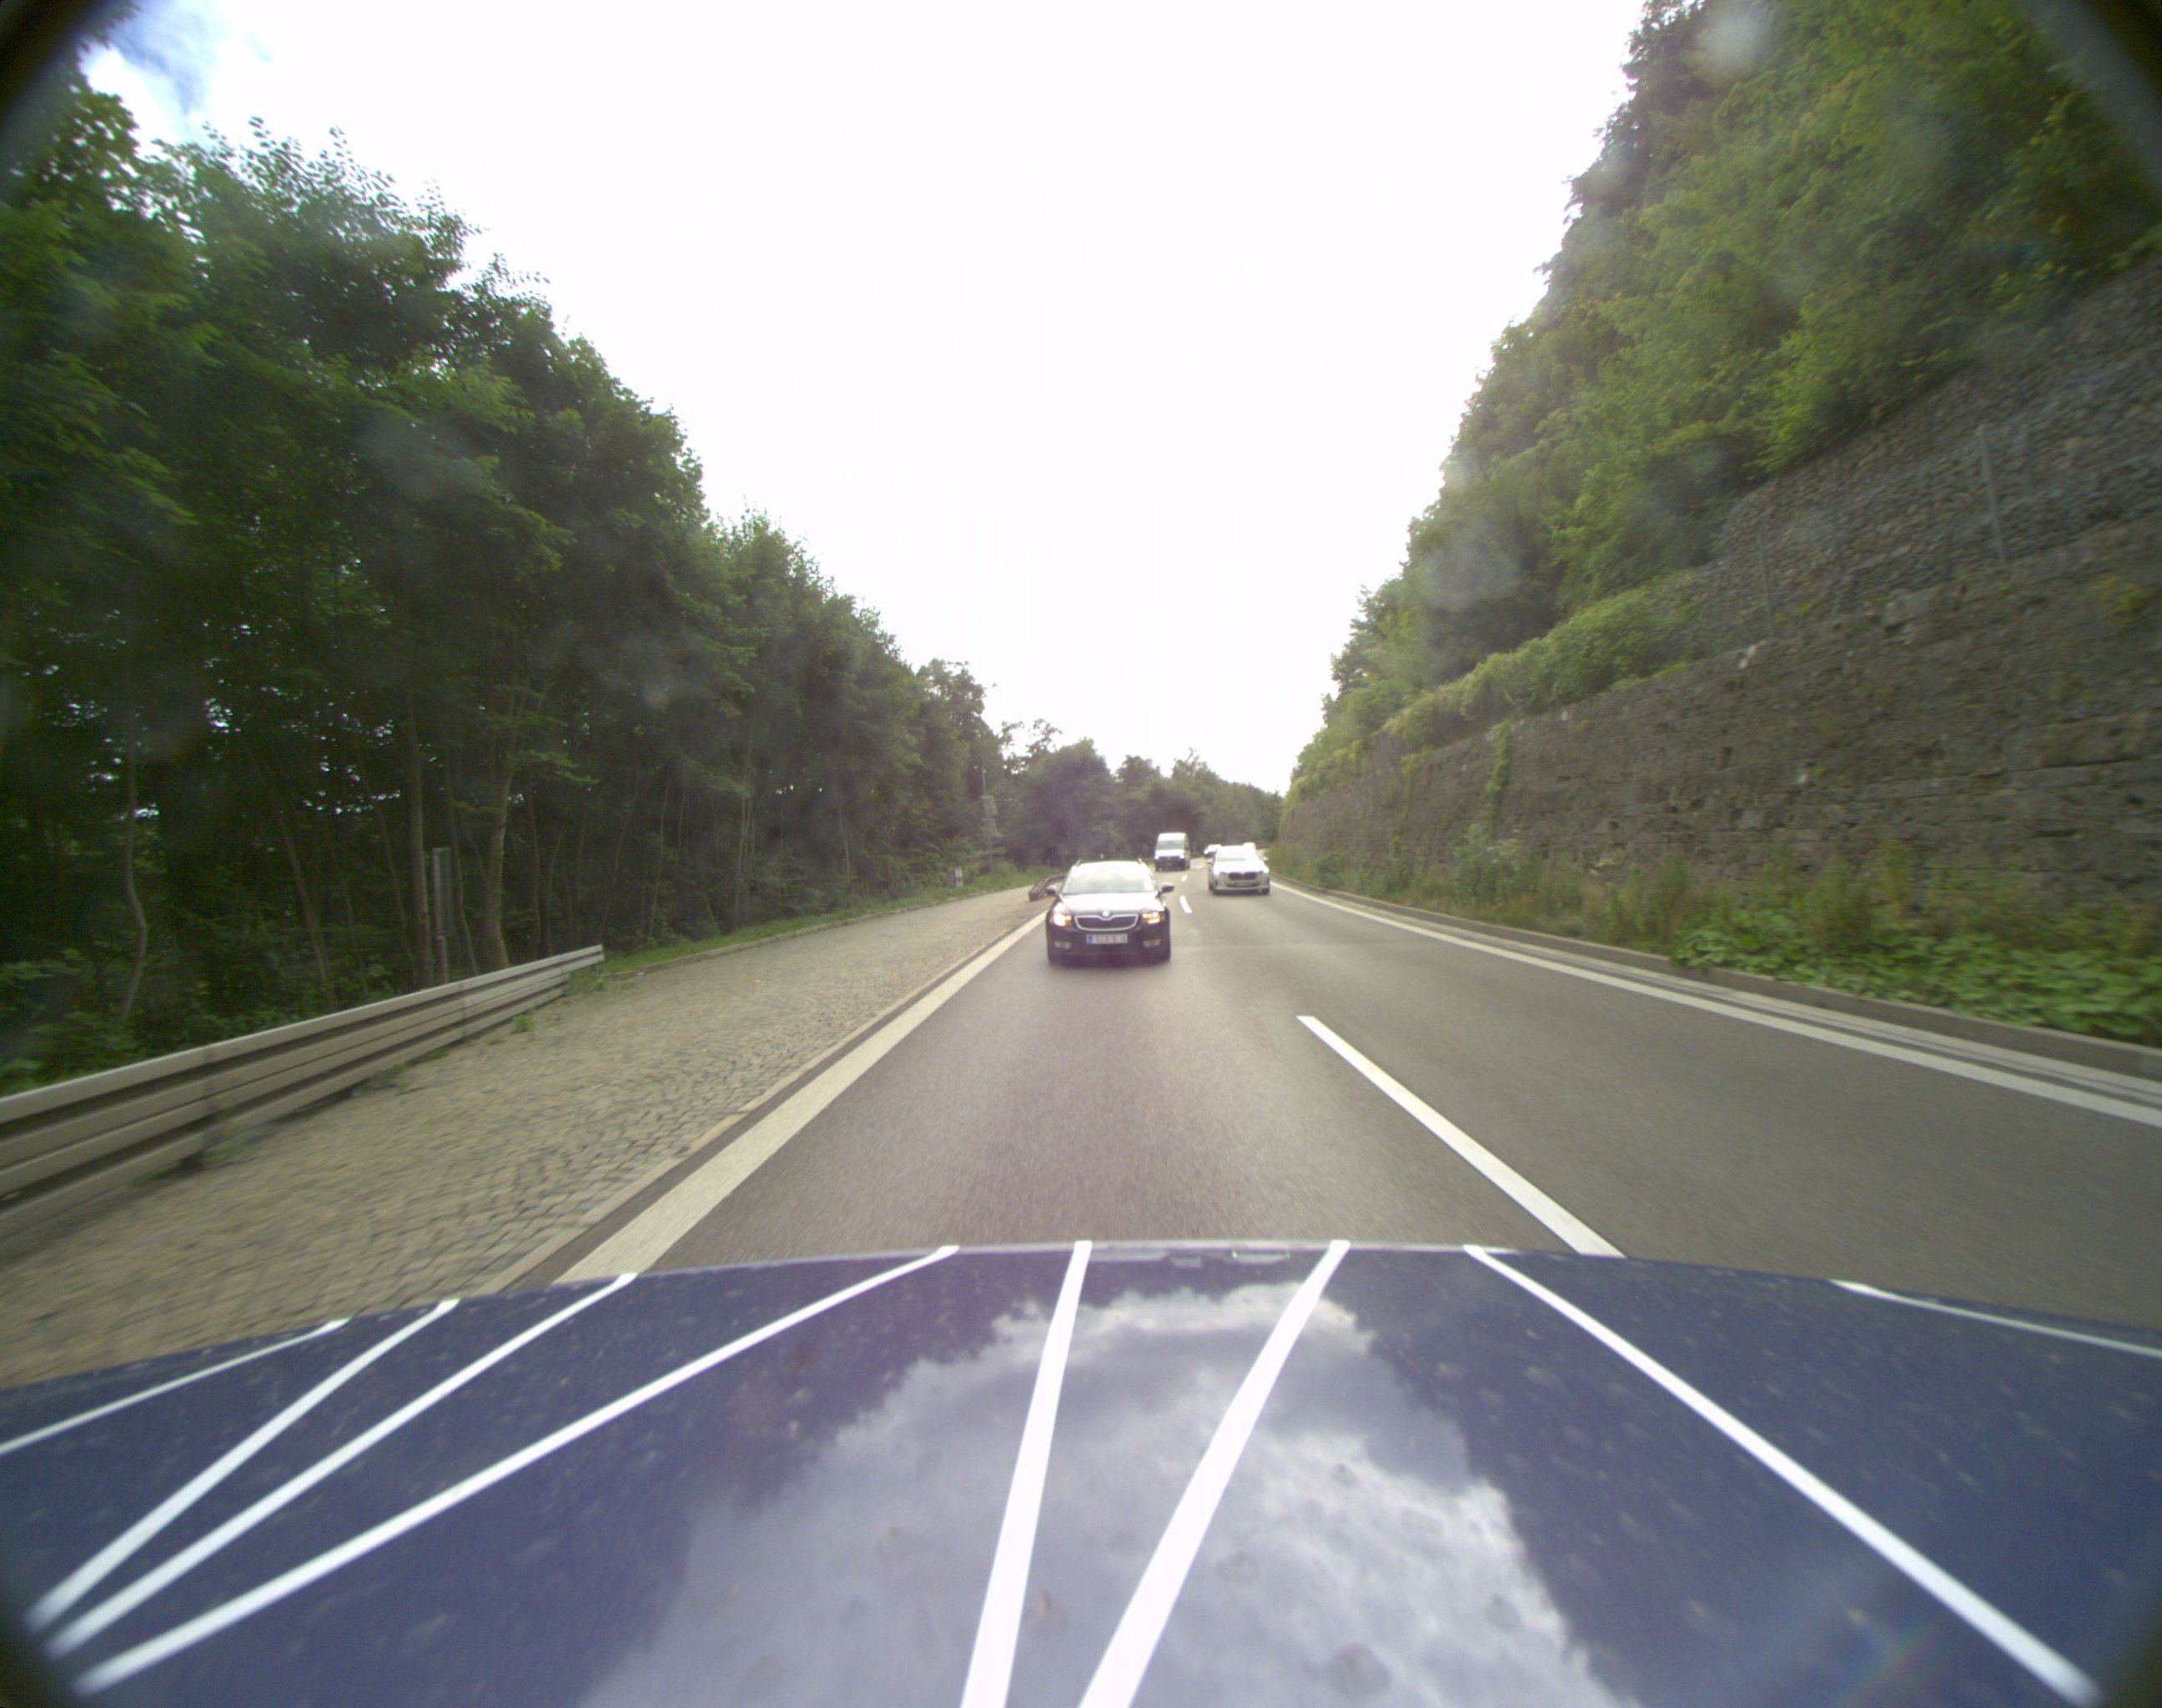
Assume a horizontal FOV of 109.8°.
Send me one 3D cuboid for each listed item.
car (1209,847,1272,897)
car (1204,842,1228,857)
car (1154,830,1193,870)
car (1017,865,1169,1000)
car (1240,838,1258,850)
[{"bbox_3d":[5.361,0.555,25.927,1.822,1.546,4.002,-2,0,8],"label":"car"},{"bbox_3d":[14.800,-0.541,83.404,1.820,1.546,4.006,-1,0,21],"label":"car"},{"bbox_3d":[6.479,-0.269,52.669,2.097,2.547,5.924,-1,0,11],"label":"car"},{"bbox_3d":[0.342,0.903,10.600,1.637,1.384,4.500,-2,0,5],"label":"car"},{"bbox_3d":[23.882,-1.392,107.905,1.820,1.546,4.006,-1,0,22],"label":"car"}]
